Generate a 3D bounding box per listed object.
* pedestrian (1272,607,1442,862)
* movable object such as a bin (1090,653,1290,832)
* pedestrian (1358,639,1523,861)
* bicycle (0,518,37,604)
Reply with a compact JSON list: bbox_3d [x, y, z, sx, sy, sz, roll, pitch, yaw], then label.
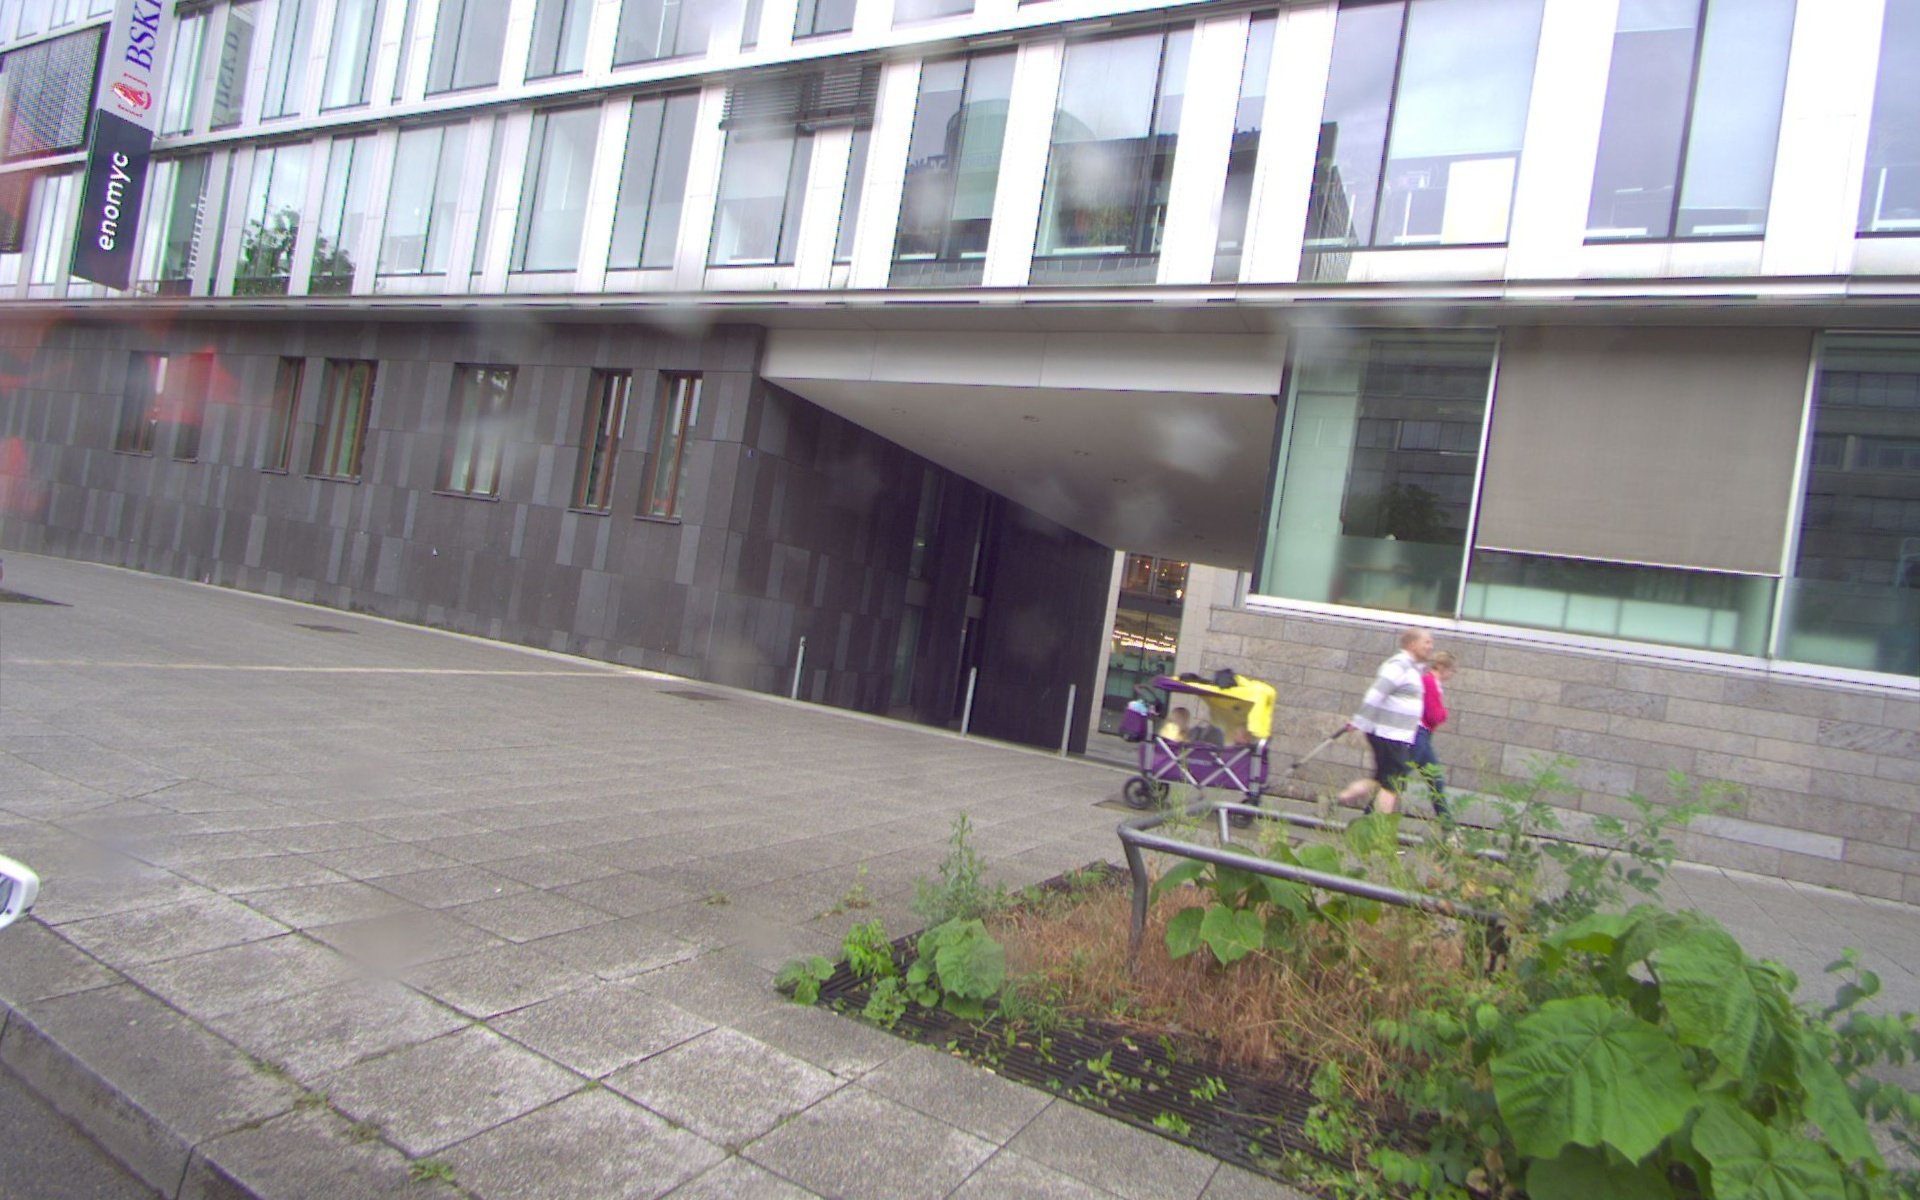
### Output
[{"bbox_3d":[3.249,1.043,8.200,1.028,1.814,0.901,7,1,26],"label":"pedestrian"},{"bbox_3d":[1.991,1.190,8.713,1.420,1.279,0.733,6,-2,29],"label":"movable object such as a bin"},{"bbox_3d":[4.232,1.274,8.898,1.080,1.712,0.719,7,1,27],"label":"pedestrian"},{"bbox_3d":[-13.074,-0.638,12.253,0.665,1.069,2.543,7,-2,27],"label":"bicycle"}]
